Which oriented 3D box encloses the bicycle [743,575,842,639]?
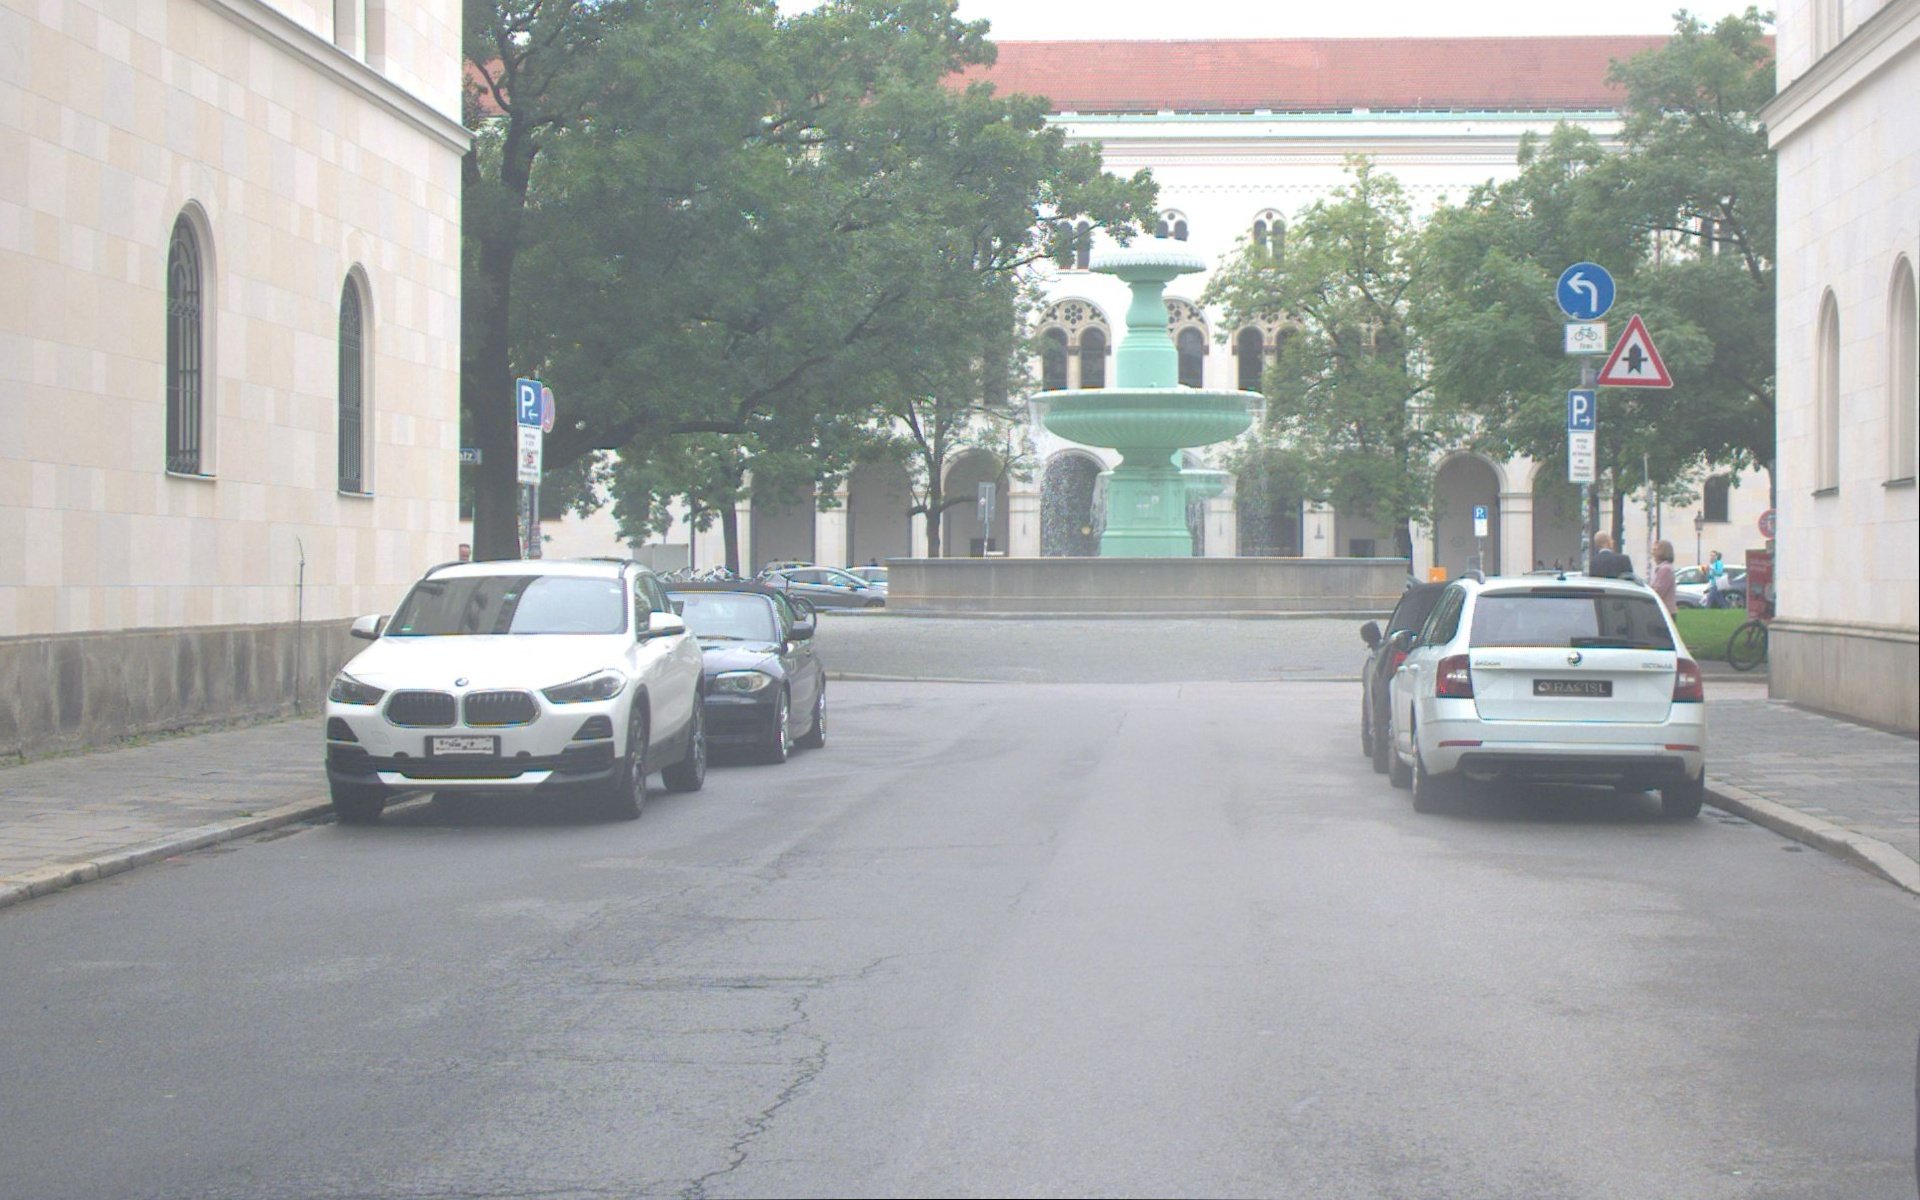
[{"bbox_3d":[-2.948,0.120,60.645,1.620,1.095,0.616,1,1,15],"label":"bicycle"}]

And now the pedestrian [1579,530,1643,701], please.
[{"bbox_3d":[6.906,0.157,36.503,0.642,1.802,0.489,0,1,10],"label":"pedestrian"}]

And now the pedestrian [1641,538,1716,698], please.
[{"bbox_3d":[7.687,0.188,36.788,0.620,1.676,0.546,2,1,-2],"label":"pedestrian"}]

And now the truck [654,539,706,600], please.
[{"bbox_3d":[-11.887,-1.309,145.847,1.993,2.480,4.001,1,1,-7],"label":"truck"}]

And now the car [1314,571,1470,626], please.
[{"bbox_3d":[11.221,-0.045,89.380,3.988,1.398,1.824,0,1,7],"label":"car"}]

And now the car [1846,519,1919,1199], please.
[{"bbox_3d":[2.549,0.683,4.462,1.747,1.588,3.956,1,1,0],"label":"car"}]

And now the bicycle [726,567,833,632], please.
[{"bbox_3d":[-3.137,-0.013,59.907,1.711,1.095,0.698,1,1,15],"label":"bicycle"}]

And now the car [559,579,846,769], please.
[{"bbox_3d":[-1.993,0.551,27.755,1.699,1.388,4.211,-1,0,4],"label":"car"}]

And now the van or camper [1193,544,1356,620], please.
[{"bbox_3d":[9.181,-0.517,100.631,4.579,2.007,2.000,-2,-1,2],"label":"van or camper"}]

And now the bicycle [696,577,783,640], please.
[{"bbox_3d":[-3.962,0.147,61.743,1.402,1.095,0.656,1,1,15],"label":"bicycle"}]

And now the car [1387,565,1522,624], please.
[{"bbox_3d":[15.394,-0.192,107.160,3.987,1.744,1.808,1,1,3],"label":"car"}]

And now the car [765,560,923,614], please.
[{"bbox_3d":[-3.032,-0.349,90.310,3.987,1.371,2.000,0,1,3],"label":"car"}]

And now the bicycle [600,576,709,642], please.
[{"bbox_3d":[-4.971,0.140,55.918,1.620,1.032,0.698,1,1,15],"label":"bicycle"}]

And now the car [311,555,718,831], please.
[{"bbox_3d":[-2.669,0.526,21.537,1.778,1.529,4.211,-1,0,3],"label":"car"}]

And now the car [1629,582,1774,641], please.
[{"bbox_3d":[22.935,0.343,106.447,4.097,1.735,1.746,1,1,1],"label":"car"}]

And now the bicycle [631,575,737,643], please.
[{"bbox_3d":[-4.612,0.140,57.499,1.620,1.095,0.698,1,1,15],"label":"bicycle"}]

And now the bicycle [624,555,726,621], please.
[{"bbox_3d":[-4.932,-0.212,59.507,1.620,1.095,0.698,1,1,15],"label":"bicycle"}]

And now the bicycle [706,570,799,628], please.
[{"bbox_3d":[-3.776,-0.023,62.542,1.536,1.016,0.698,1,1,15],"label":"bicycle"}]

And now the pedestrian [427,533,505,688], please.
[{"bbox_3d":[-5.631,0.113,39.226,0.754,1.743,0.689,0,1,2],"label":"pedestrian"}]

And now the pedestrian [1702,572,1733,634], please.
[{"bbox_3d":[18.064,0.066,81.980,0.583,1.460,0.547,1,1,27],"label":"pedestrian"}]

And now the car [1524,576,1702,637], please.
[{"bbox_3d":[16.796,0.156,88.582,4.358,1.519,1.803,0,1,6],"label":"car"}]

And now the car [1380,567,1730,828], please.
[{"bbox_3d":[3.689,0.539,21.980,1.789,1.471,4.312,1,1,5],"label":"car"}]

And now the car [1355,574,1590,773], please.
[{"bbox_3d":[3.919,0.524,26.745,1.540,1.421,3.771,1,0,5],"label":"car"}]
